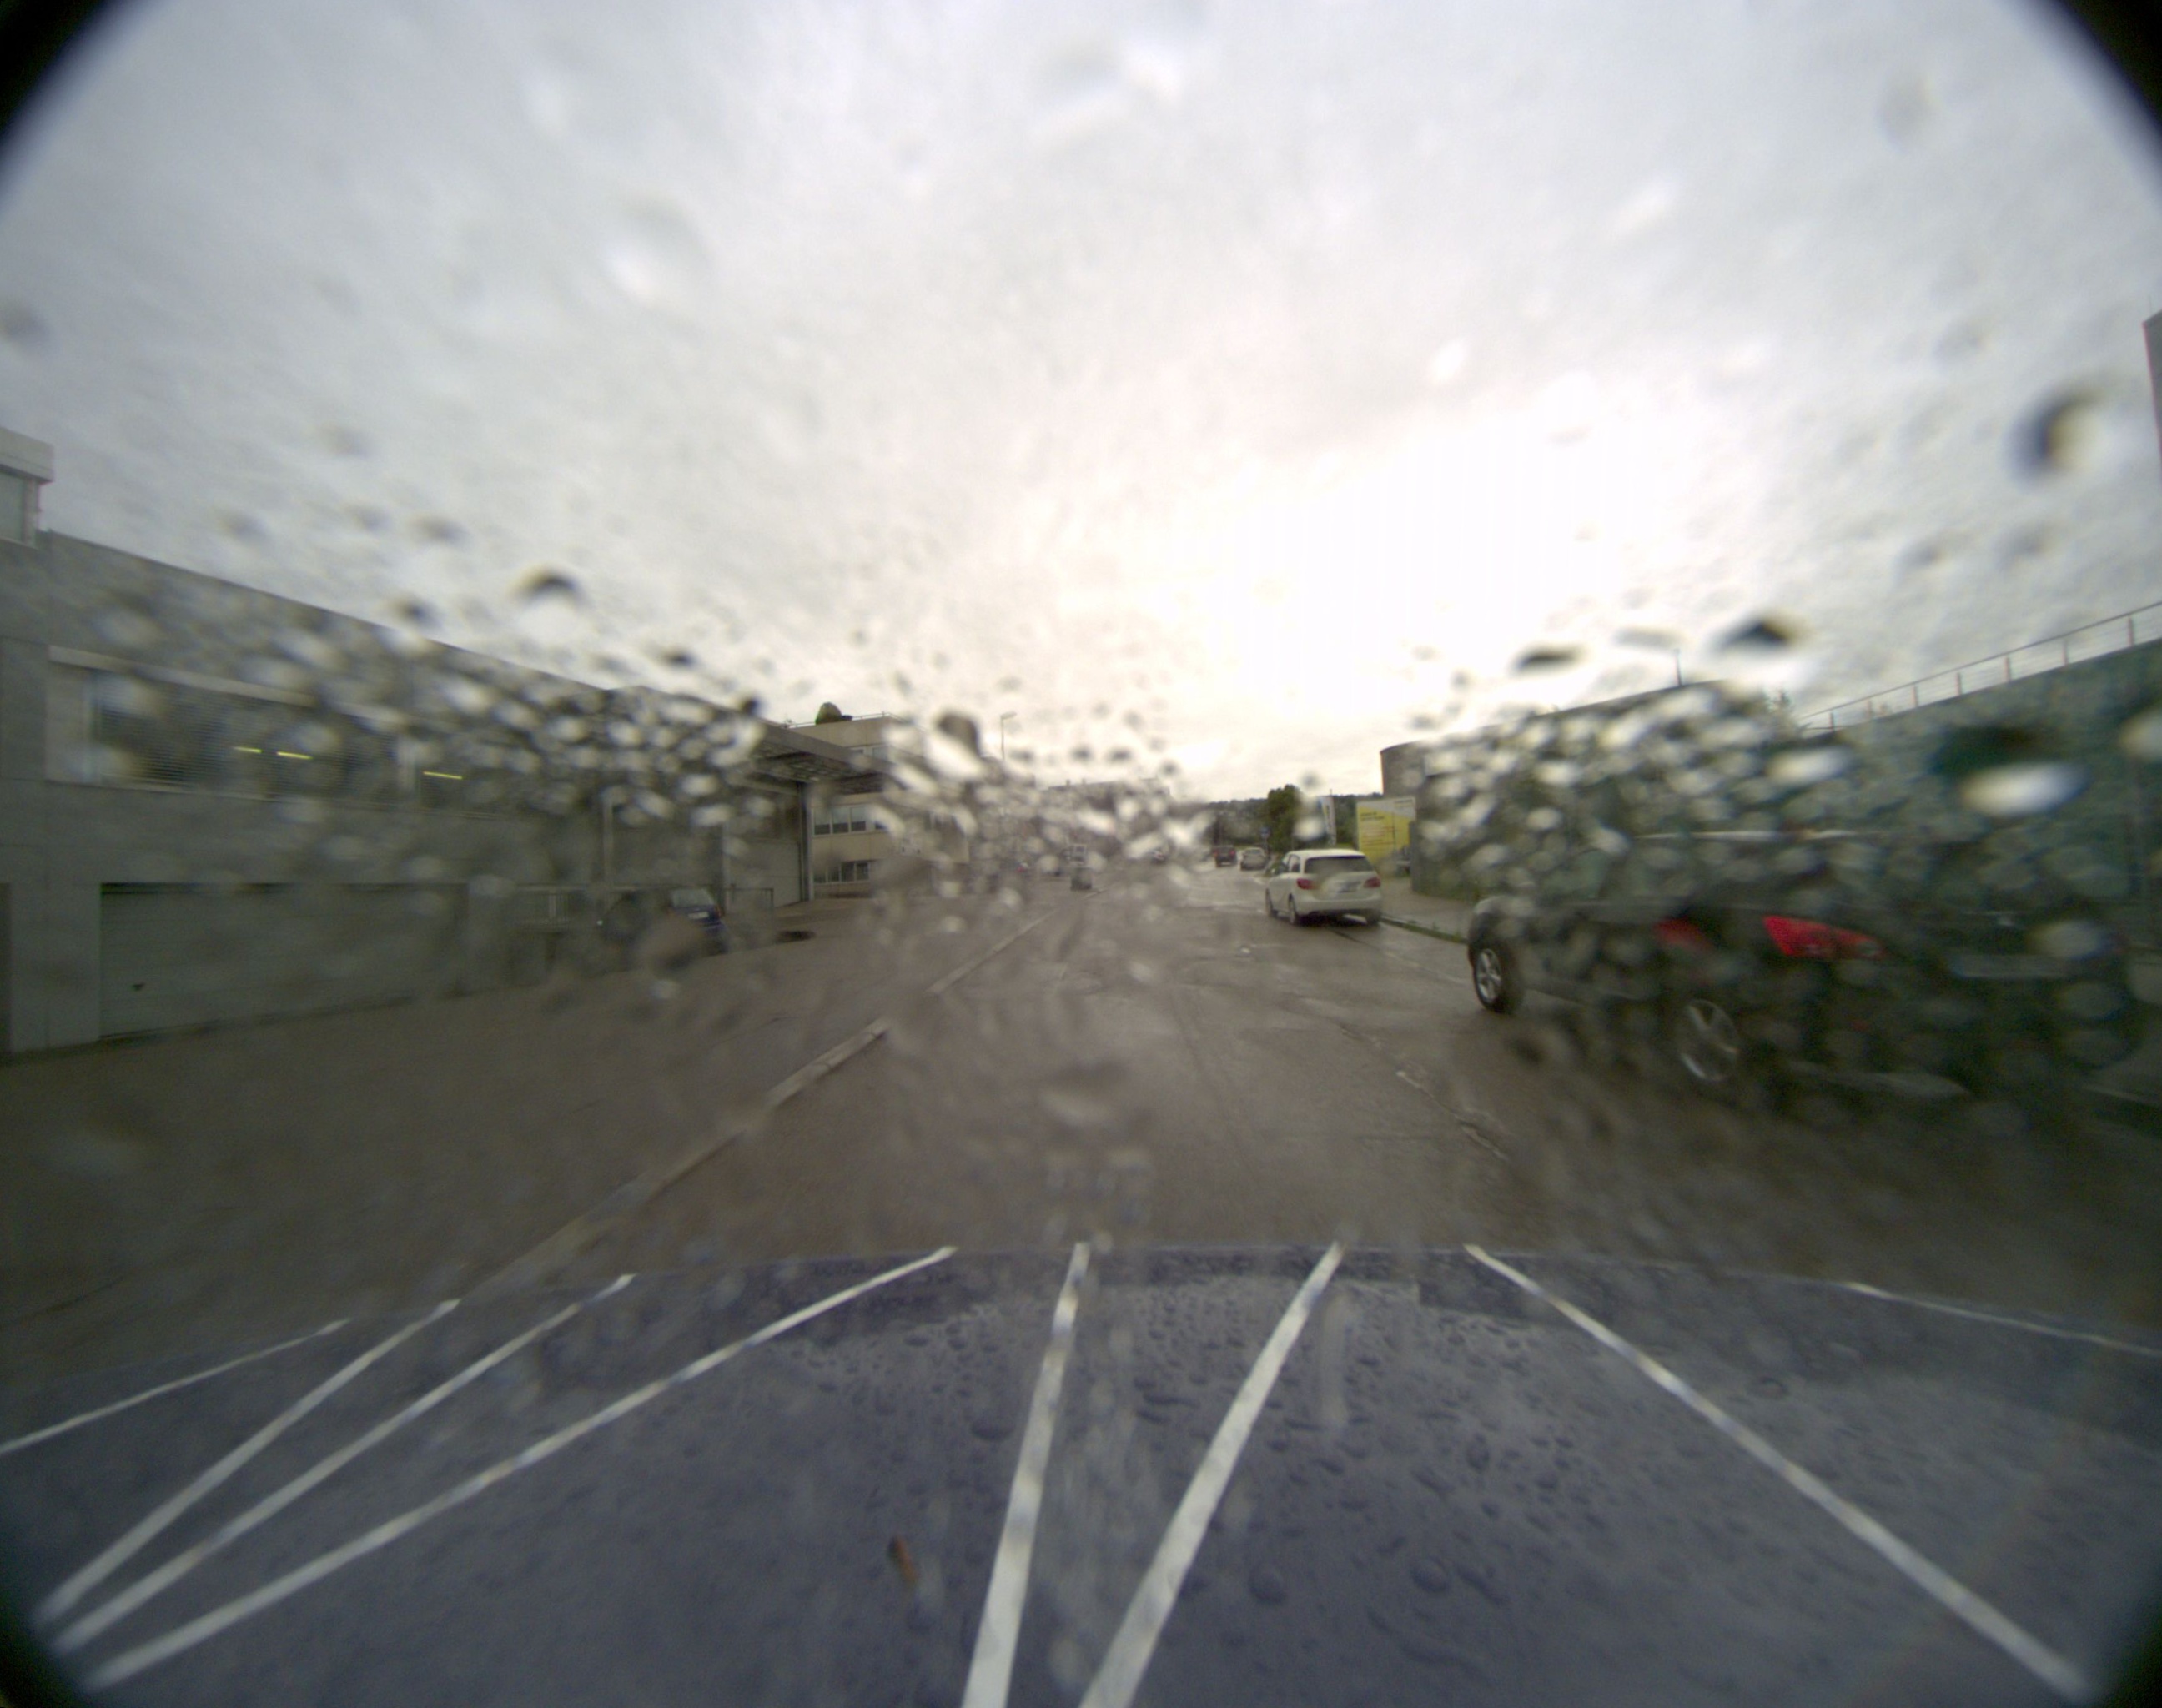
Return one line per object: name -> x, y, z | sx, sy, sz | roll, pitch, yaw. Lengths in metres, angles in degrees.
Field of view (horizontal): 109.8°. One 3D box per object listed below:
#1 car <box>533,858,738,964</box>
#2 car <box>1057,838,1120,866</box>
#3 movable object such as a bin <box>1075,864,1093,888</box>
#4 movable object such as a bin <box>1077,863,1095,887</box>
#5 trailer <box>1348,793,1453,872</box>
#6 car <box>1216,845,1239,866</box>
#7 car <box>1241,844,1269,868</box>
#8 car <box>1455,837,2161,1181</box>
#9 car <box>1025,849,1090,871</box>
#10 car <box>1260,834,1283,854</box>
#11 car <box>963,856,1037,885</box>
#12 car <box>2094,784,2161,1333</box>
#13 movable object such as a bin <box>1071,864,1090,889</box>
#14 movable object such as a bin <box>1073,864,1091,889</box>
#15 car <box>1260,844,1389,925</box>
car -> -9.063, 1.140, 15.503 | 3.440, 1.490, 1.620 | -11, -2, 20
car -> 0.689, -0.198, 67.854 | 5.146, 2.281, 2.204 | -2, 1, 16
movable object such as a bin -> 0.143, 1.023, 35.432 | 0.735, 1.084, 0.594 | -2, 1, 8
movable object such as a bin -> 0.232, 1.010, 36.049 | 0.735, 1.084, 0.594 | -2, 1, 8
trailer -> 17.458, -1.130, 41.687 | 2.393, 4.066, 4.687 | -3, 1, -38
car -> 14.637, 0.125, 75.986 | 2.066, 2.002, 4.515 | -1, 0, 9
car -> 14.628, 0.141, 64.000 | 1.997, 1.902, 4.002 | -1, 0, 8
car -> 4.447, 0.701, 5.463 | 1.636, 1.549, 4.084 | -1, 0, 2
car -> -1.807, 0.454, 58.763 | 4.617, 1.488, 1.943 | -2, 1, 14
car -> 21.075, -1.103, 84.050 | 1.996, 2.002, 4.005 | -2, 0, 20
car -> -4.457, 0.906, 42.063 | 3.745, 1.531, 1.632 | -1, 0, 12
car -> 4.275, 0.656, 0.604 | 1.743, 1.787, 3.959 | -2, 1, 3
movable object such as a bin -> -0.026, 1.022, 34.199 | 0.735, 1.084, 0.594 | -2, 1, 8
movable object such as a bin -> 0.054, 1.021, 34.812 | 0.735, 1.084, 0.594 | -2, 1, 8
car -> 5.275, 0.579, 17.046 | 1.739, 1.527, 4.251 | -2, 0, 4
